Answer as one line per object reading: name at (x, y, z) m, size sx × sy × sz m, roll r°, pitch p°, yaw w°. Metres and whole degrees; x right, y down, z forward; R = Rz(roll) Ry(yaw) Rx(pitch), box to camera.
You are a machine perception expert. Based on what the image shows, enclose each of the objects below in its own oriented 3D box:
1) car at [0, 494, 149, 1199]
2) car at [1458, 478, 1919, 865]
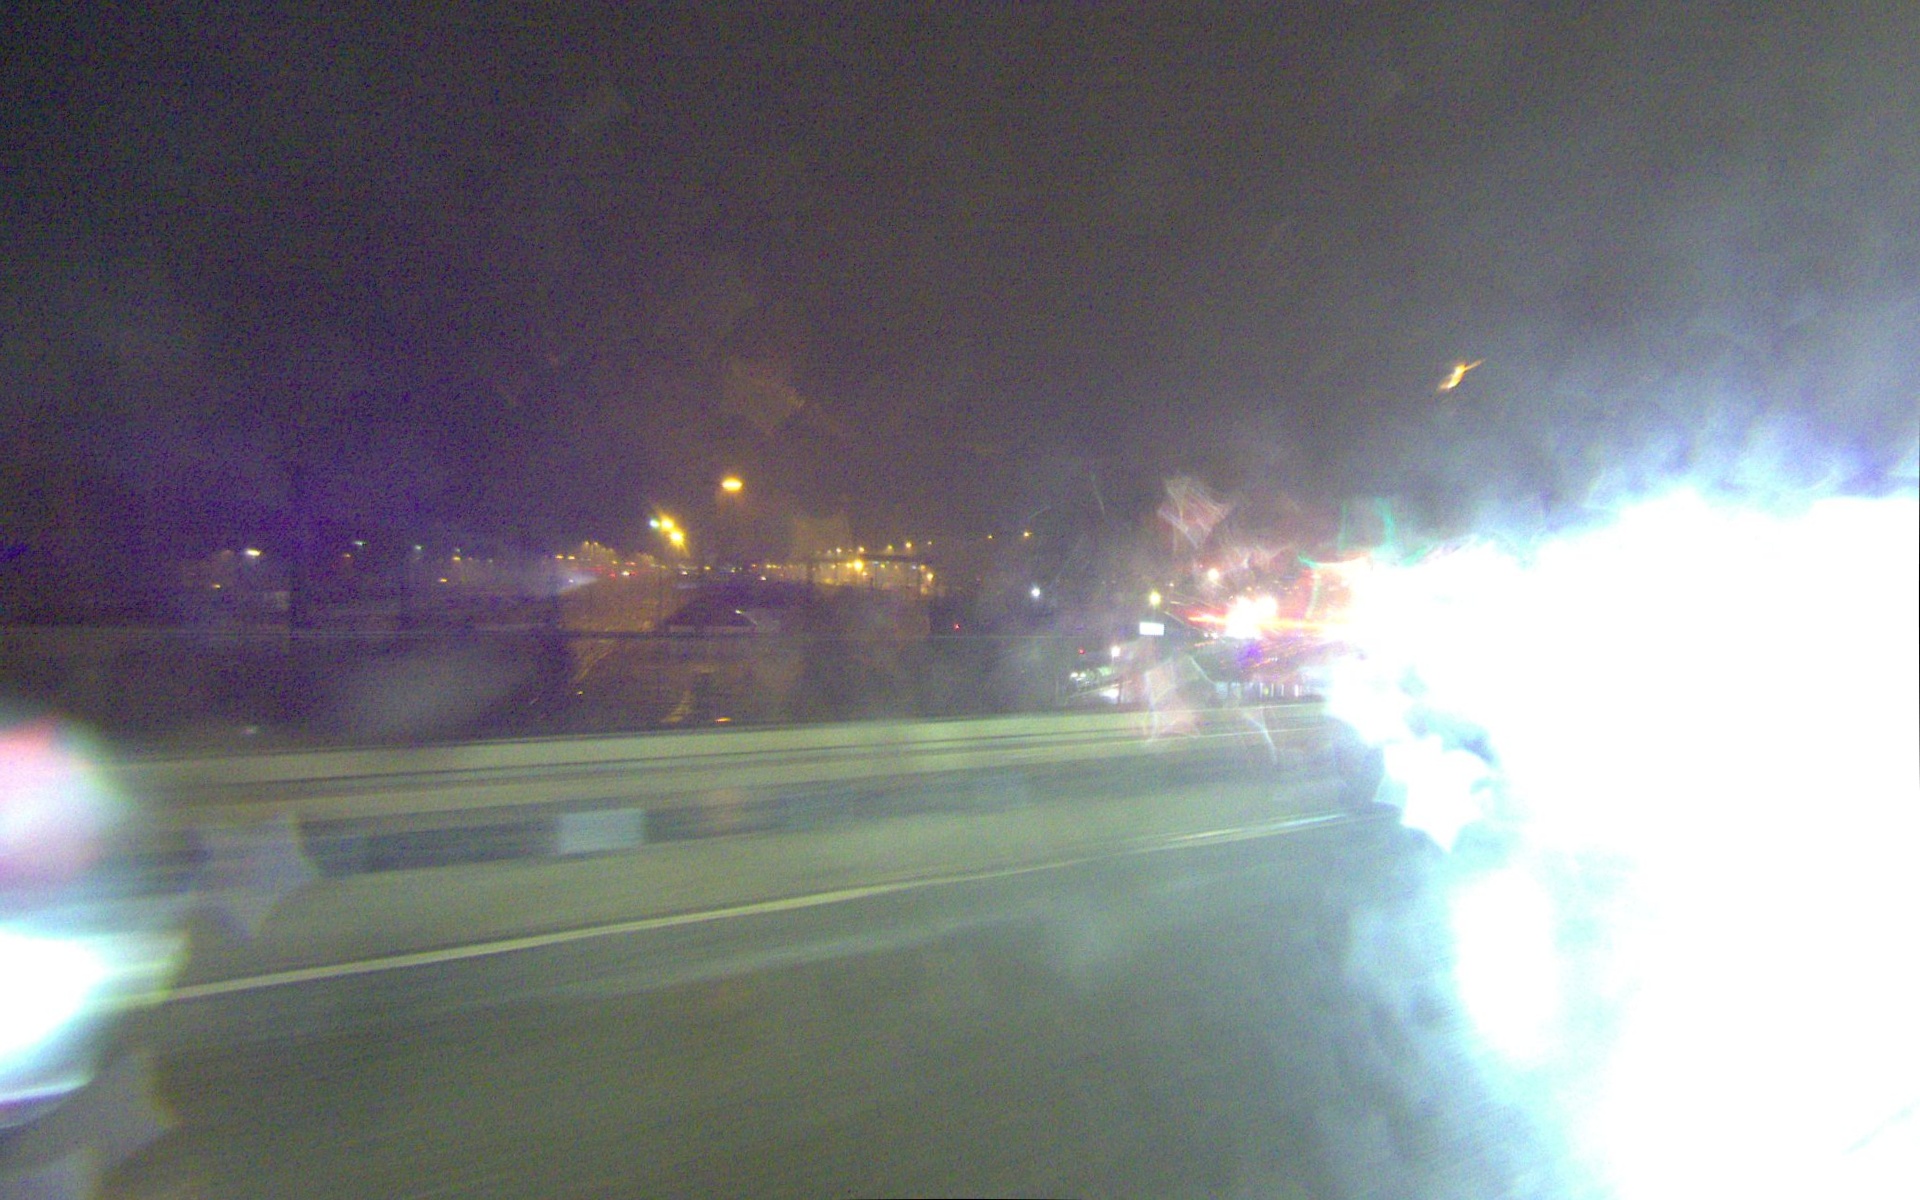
car at (-4.051, 0.563, 1.654) m, size 3.945 × 1.652 × 1.784 m, roll 1°, pitch 0°, yaw -30°
car at (6.319, 0.485, 8.030) m, size 5.103 × 2.199 × 2.030 m, roll 2°, pitch -1°, yaw -35°
